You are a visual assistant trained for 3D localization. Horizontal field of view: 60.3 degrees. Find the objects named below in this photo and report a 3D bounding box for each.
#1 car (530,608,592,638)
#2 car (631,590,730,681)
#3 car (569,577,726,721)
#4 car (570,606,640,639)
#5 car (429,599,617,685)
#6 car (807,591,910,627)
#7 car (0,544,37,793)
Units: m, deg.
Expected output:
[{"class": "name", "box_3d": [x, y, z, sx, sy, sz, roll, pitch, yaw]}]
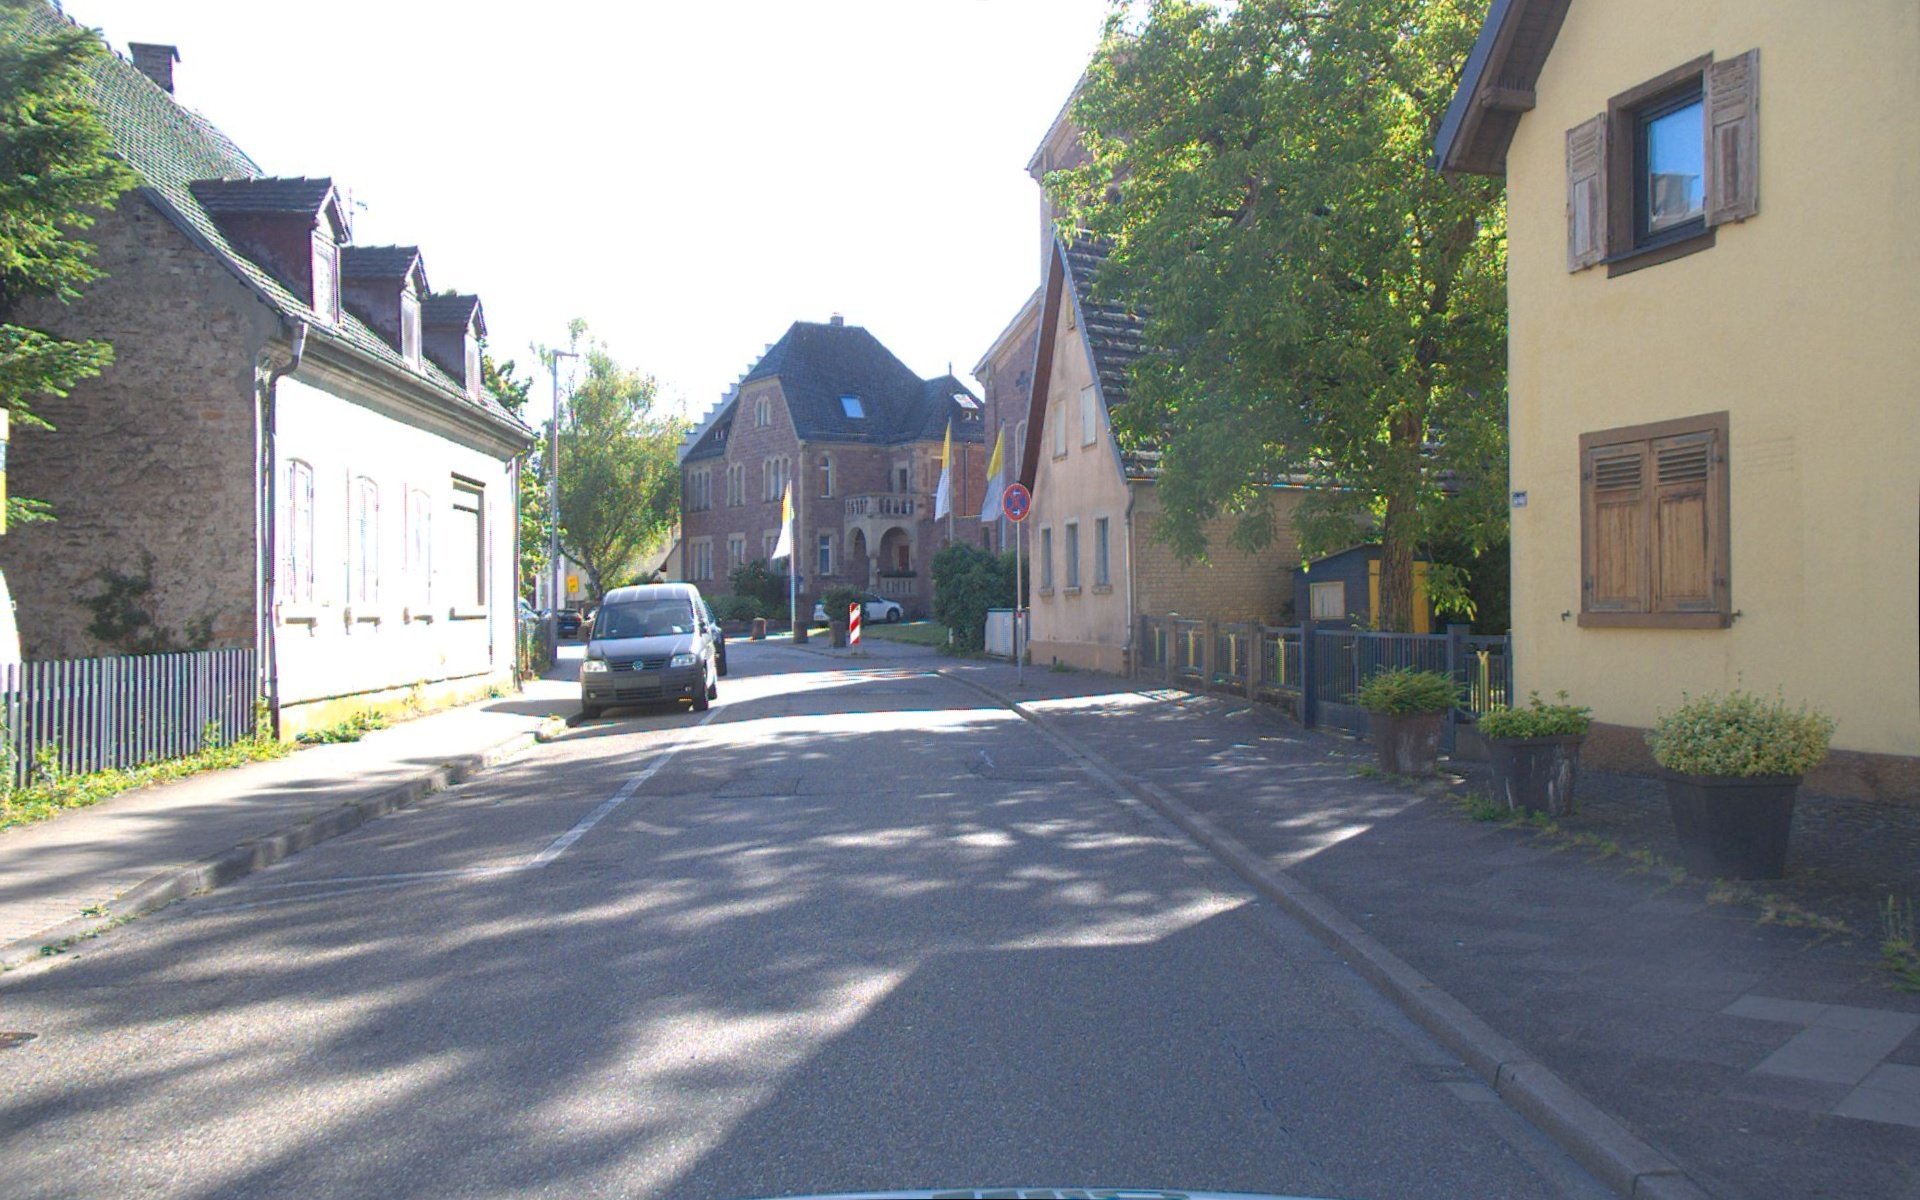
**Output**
[{"class": "car", "box_3d": [-19.734, 1.136, 81.659, 1.697, 1.425, 4.198, -2, 0, -33]}, {"class": "car", "box_3d": [-6.121, 0.726, 35.944, 1.795, 1.763, 4.187, -3, 0, -13]}, {"class": "car", "box_3d": [-4.527, 0.654, 24.515, 1.791, 1.845, 4.197, -3, 0, -5]}, {"class": "car", "box_3d": [-16.012, 1.009, 74.445, 1.697, 1.425, 4.198, -2, 0, -33]}, {"class": "car", "box_3d": [-10.491, 0.976, 39.673, 4.129, 1.762, 1.820, -3, 0, -21]}, {"class": "car", "box_3d": [-4.404, 0.400, 71.951, 4.199, 1.425, 1.696, -2, 0, -36]}, {"class": "car", "box_3d": [-8.497, 0.588, 11.126, 1.902, 1.989, 5.138, -2, 0, -4]}]
